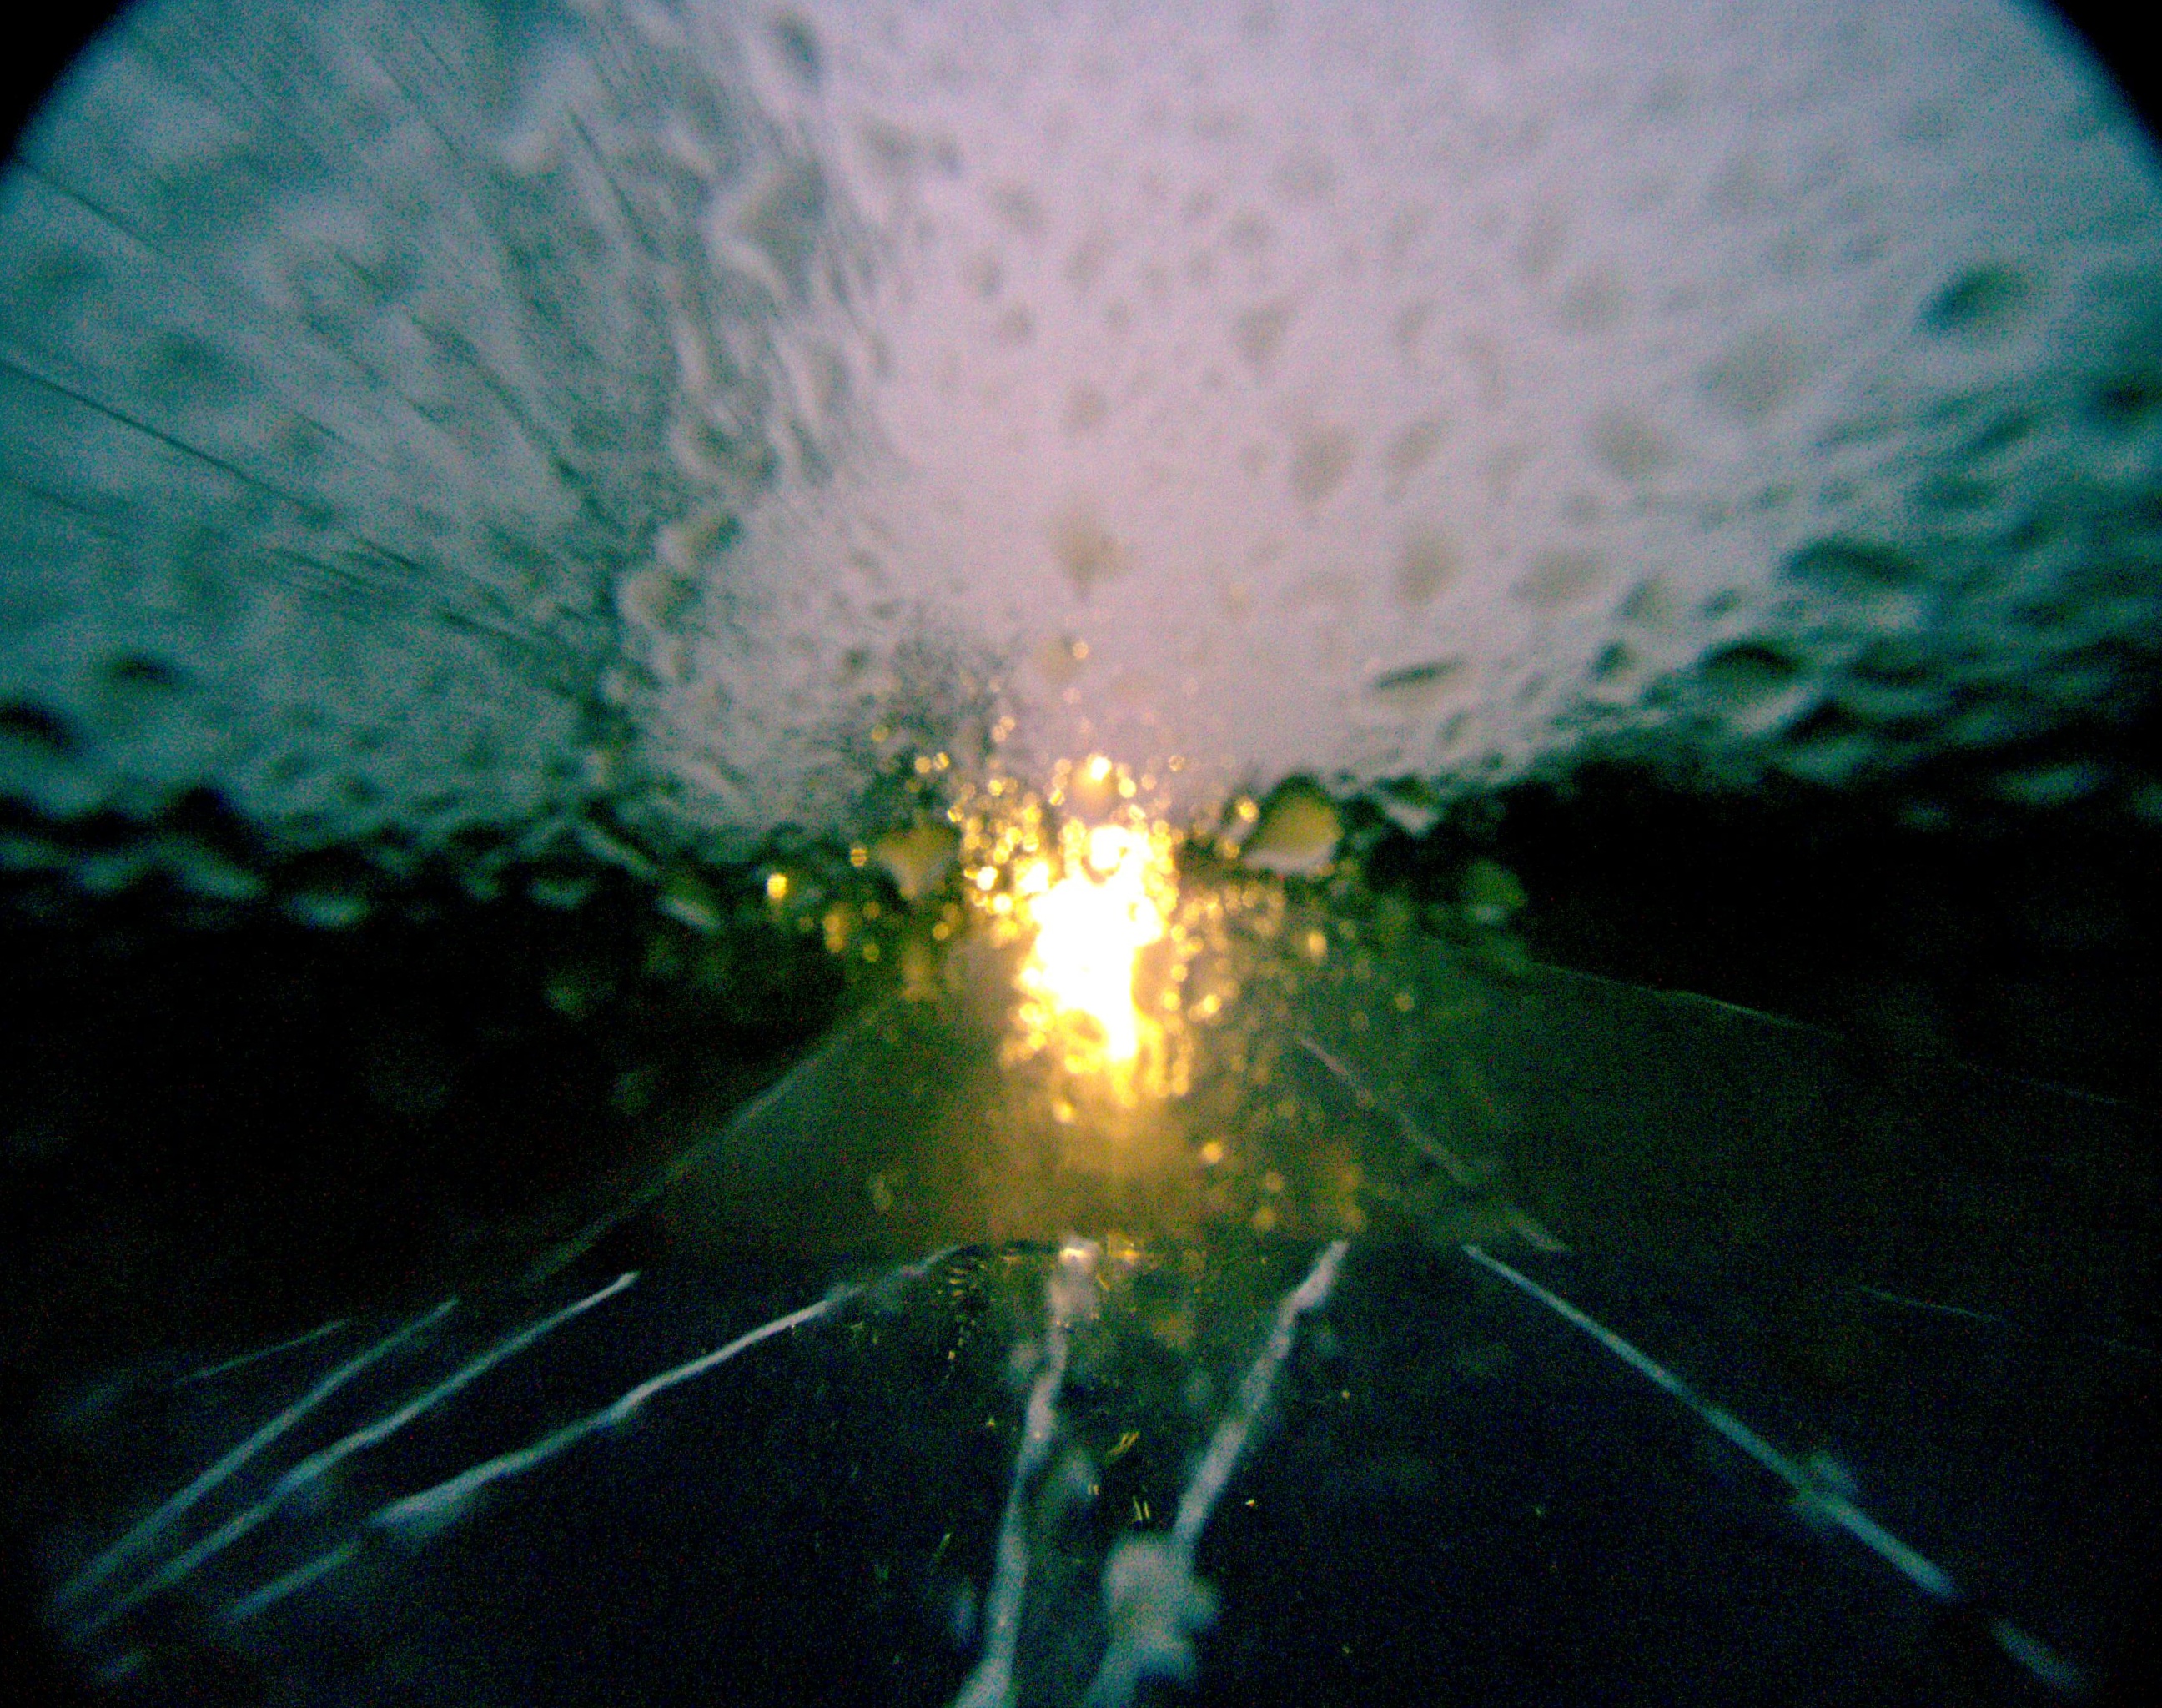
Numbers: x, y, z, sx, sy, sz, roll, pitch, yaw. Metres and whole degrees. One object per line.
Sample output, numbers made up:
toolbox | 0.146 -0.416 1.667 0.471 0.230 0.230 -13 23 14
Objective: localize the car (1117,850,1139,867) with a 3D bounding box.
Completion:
car | 4.807 0.441 78.563 1.927 1.645 4.104 -2 0 0

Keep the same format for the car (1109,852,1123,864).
car | 5.225 0.567 113.539 1.784 1.586 4.692 -2 0 1

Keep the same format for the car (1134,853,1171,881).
car | 4.044 0.717 43.462 1.822 1.433 3.455 -2 0 2

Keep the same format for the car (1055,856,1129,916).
car | 0.438 0.936 23.730 1.998 1.601 4.001 -2 0 4

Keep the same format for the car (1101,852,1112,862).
car | 4.712 0.567 141.410 1.757 1.637 4.048 -2 0 -1
